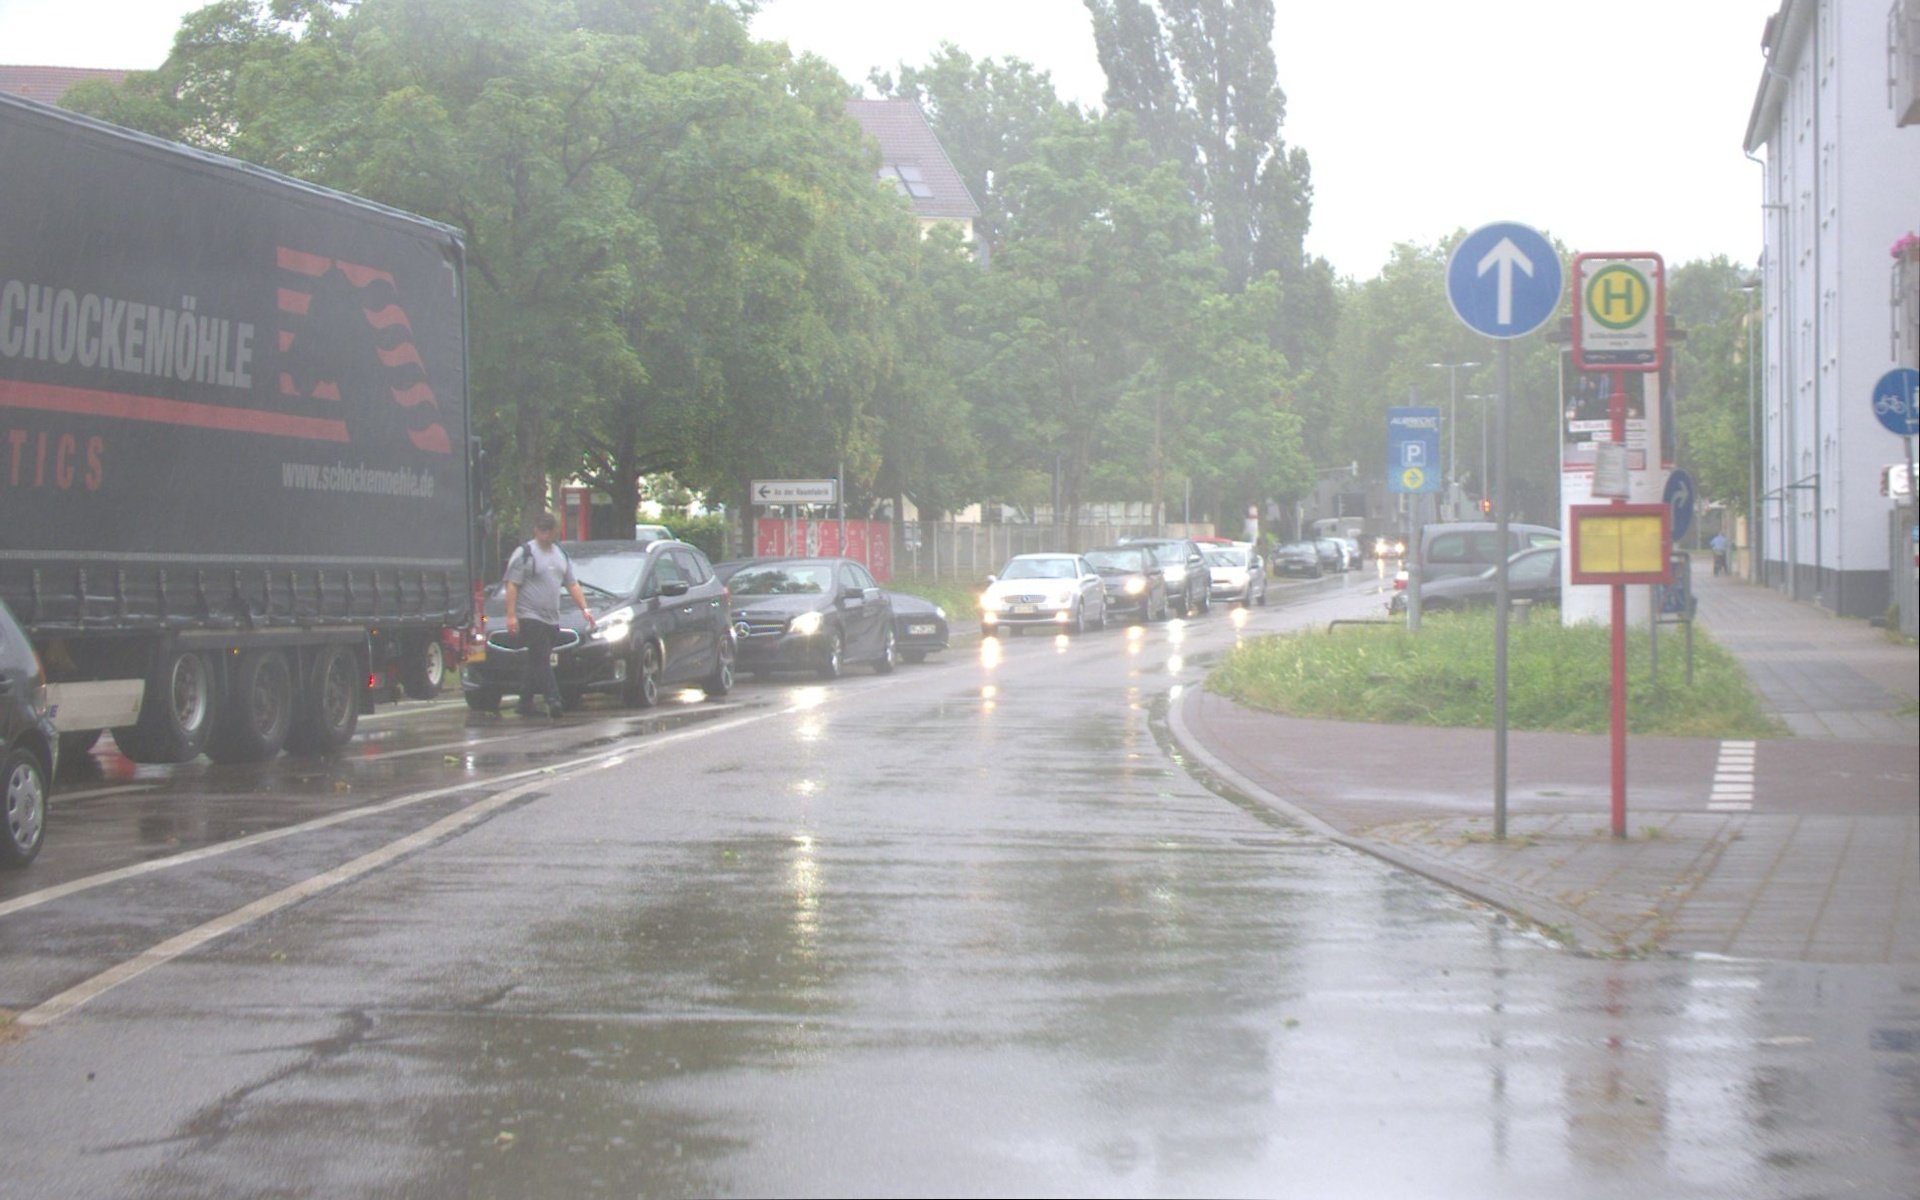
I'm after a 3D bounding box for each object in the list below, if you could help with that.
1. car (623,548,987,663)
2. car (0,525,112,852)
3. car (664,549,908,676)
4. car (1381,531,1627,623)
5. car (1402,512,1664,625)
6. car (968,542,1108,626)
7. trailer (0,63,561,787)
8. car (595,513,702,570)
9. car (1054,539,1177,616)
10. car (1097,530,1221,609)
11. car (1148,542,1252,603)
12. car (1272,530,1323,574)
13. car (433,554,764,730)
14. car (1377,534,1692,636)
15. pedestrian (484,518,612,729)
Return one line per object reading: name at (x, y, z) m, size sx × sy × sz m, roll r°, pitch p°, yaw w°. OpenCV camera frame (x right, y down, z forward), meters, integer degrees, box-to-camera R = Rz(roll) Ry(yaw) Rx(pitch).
car at (-2.142, 0.042, 46.470) m, size 4.925 × 1.449 × 2.081 m, roll 1°, pitch 2°, yaw 43°
car at (-5.000, 0.400, 13.808) m, size 1.698 × 1.368 × 4.098 m, roll 0°, pitch 2°, yaw 8°
car at (-1.969, 0.108, 40.317) m, size 1.727 × 1.356 × 4.335 m, roll -1°, pitch 1°, yaw 13°
car at (9.514, -0.406, 60.170) m, size 4.191 × 1.563 × 1.888 m, roll 0°, pitch 1°, yaw 10°
car at (9.552, -0.532, 57.559) m, size 4.233 × 1.799 × 1.944 m, roll -1°, pitch 1°, yaw 8°
car at (1.408, -0.307, 60.410) m, size 1.775 × 1.398 × 4.828 m, roll 1°, pitch 1°, yaw 9°
trailer at (-6.543, -1.034, 22.016) m, size 3.444 × 4.035 × 15.044 m, roll 0°, pitch 1°, yaw 11°
car at (-9.007, -1.669, 99.103) m, size 1.844 × 1.567 × 4.001 m, roll 0°, pitch 0°, yaw -24°
car at (3.081, -0.456, 67.489) m, size 1.780 × 1.415 × 4.263 m, roll 0°, pitch 1°, yaw 11°
car at (4.336, -0.669, 74.212) m, size 1.915 × 1.634 × 4.819 m, roll 1°, pitch 1°, yaw 12°
car at (5.616, -0.658, 80.114) m, size 1.673 × 1.378 × 4.249 m, roll 0°, pitch 1°, yaw 15°
car at (12.853, -1.848, 131.080) m, size 1.776 × 1.524 × 4.000 m, roll 1°, pitch 3°, yaw 4°
car at (-3.481, 0.412, 34.081) m, size 1.868 × 1.614 × 4.800 m, roll 0°, pitch -1°, yaw 12°
car at (8.567, -0.223, 51.188) m, size 4.535 × 1.465 × 1.982 m, roll 0°, pitch 1°, yaw 11°
pedestrian at (-3.681, 0.191, 30.678) m, size 0.868 × 1.837 × 0.992 m, roll -1°, pitch 1°, yaw -24°
